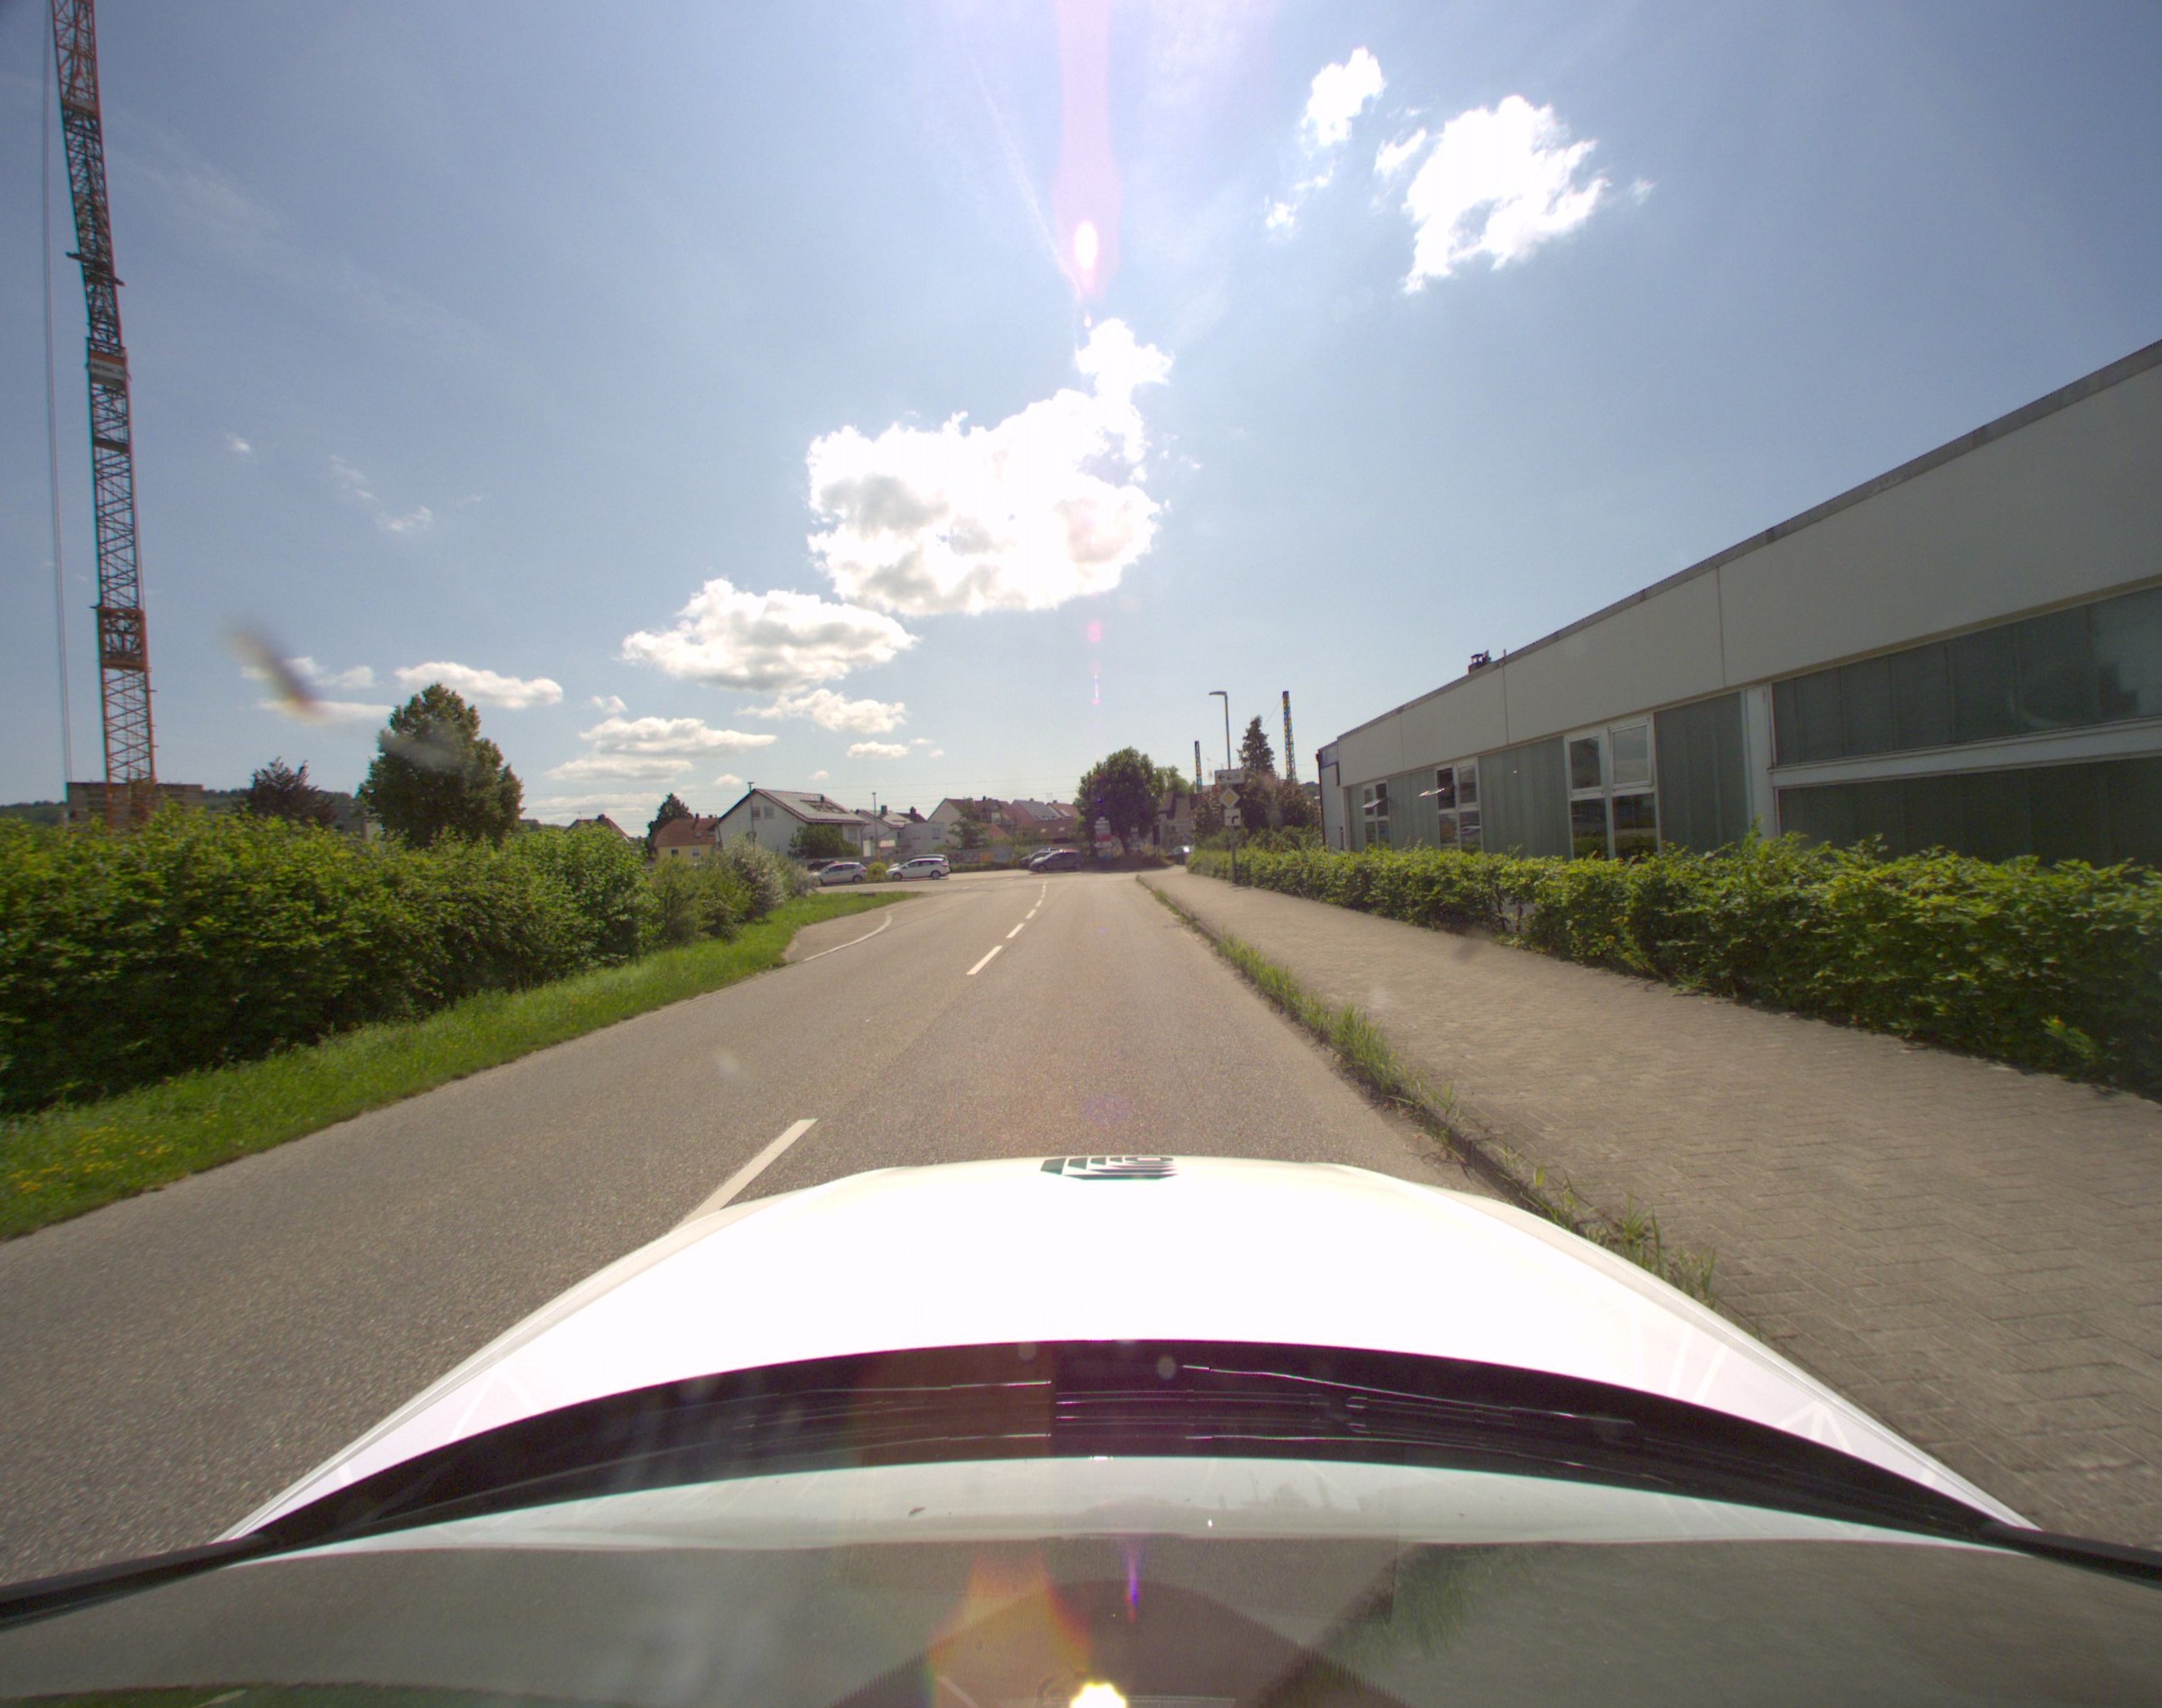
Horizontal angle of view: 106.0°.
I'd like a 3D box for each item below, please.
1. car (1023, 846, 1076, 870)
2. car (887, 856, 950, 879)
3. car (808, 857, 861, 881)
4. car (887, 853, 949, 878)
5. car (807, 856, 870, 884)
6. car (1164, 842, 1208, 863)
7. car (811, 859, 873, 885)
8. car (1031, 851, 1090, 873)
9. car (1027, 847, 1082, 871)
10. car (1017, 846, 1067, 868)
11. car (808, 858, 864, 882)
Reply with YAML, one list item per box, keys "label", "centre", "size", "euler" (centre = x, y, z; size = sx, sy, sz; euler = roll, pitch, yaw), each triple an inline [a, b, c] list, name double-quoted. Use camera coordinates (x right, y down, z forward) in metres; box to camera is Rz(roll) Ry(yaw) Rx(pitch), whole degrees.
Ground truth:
- label: "car"
  centre: [-2.536, 0.338, 64.704]
  size: [3.986, 1.657, 1.994]
  euler: [-3, 0, -9]
- label: "car"
  centre: [-11.475, 0.946, 57.746]
  size: [4.285, 1.477, 1.820]
  euler: [-1, -1, -11]
- label: "car"
  centre: [-19.216, 1.157, 63.581]
  size: [3.837, 1.589, 1.490]
  euler: [-4, 0, -15]
- label: "car"
  centre: [-12.426, 0.867, 62.386]
  size: [4.449, 1.690, 1.995]
  euler: [-3, 1, -8]
- label: "car"
  centre: [-17.476, 1.133, 58.921]
  size: [4.170, 1.638, 1.945]
  euler: [-5, 0, -16]
- label: "car"
  centre: [8.052, -0.129, 62.766]
  size: [1.757, 1.385, 3.975]
  euler: [-2, 3, -19]
- label: "car"
  centre: [-16.670, 1.214, 56.778]
  size: [4.010, 1.562, 1.812]
  euler: [-3, 0, -17]
- label: "car"
  centre: [-1.527, 0.582, 59.633]
  size: [4.185, 1.463, 1.660]
  euler: [-3, 0, -8]
- label: "car"
  centre: [-2.057, 0.373, 62.082]
  size: [3.985, 1.586, 1.775]
  euler: [-3, 0, -9]
- label: "car"
  centre: [-3.217, 0.268, 67.023]
  size: [3.985, 1.730, 1.765]
  euler: [-1, -1, -9]
- label: "car"
  centre: [-18.422, 1.173, 61.390]
  size: [3.786, 1.558, 1.687]
  euler: [-3, 0, -13]
